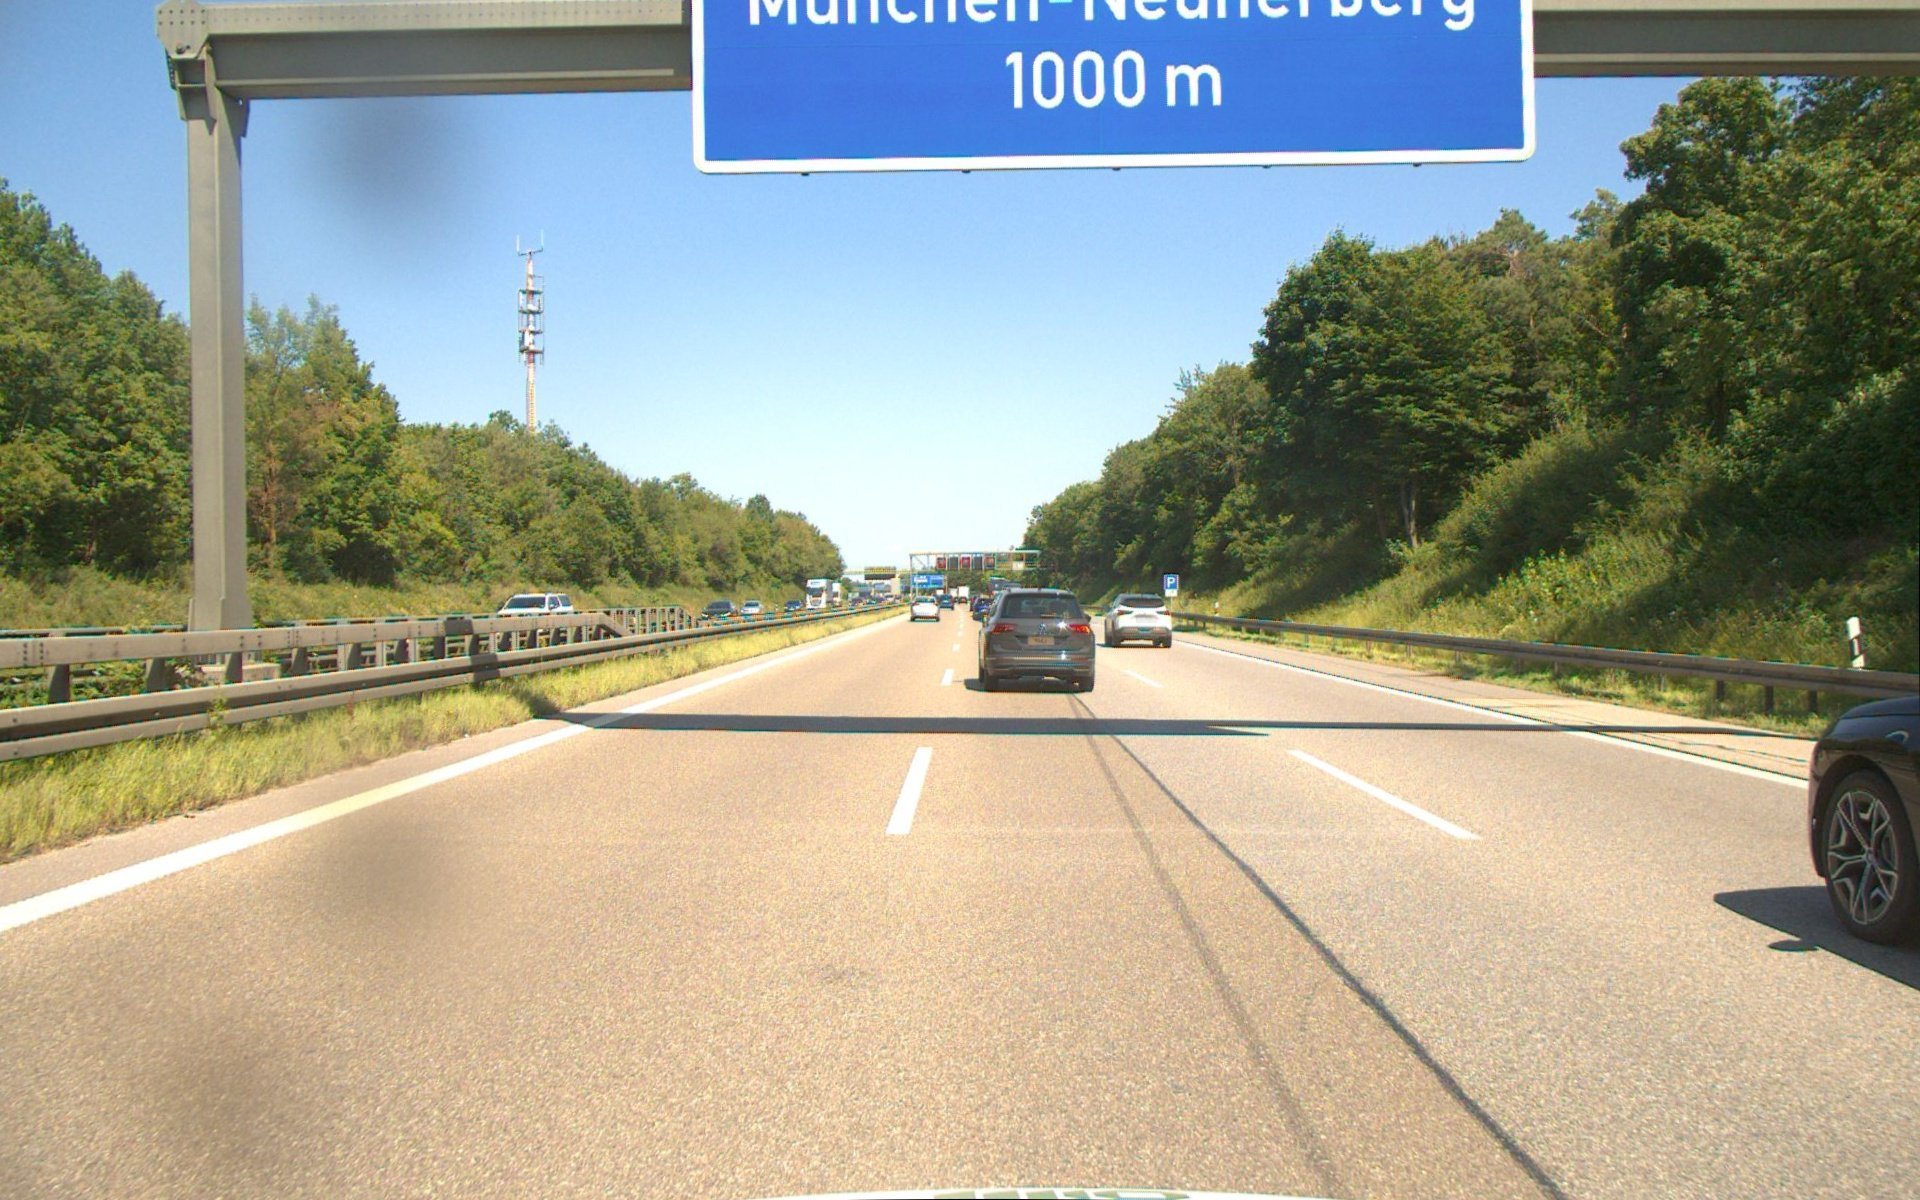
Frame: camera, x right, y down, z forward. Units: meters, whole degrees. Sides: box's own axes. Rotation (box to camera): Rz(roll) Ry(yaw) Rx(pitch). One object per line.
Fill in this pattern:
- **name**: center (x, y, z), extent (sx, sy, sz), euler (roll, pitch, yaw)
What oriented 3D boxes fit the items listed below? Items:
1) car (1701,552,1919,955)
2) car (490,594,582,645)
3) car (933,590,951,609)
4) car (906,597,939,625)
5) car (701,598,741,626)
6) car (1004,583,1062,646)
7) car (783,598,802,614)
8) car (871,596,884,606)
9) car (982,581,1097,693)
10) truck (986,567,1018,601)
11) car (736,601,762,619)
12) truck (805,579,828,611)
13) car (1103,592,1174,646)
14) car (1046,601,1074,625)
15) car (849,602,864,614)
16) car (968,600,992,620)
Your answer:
- **car**: center (4.983, 0.659, 6.750), extent (1.880, 1.698, 4.687), euler (1, 0, 1)
- **car**: center (-15.100, 0.653, 59.244), extent (1.741, 1.662, 5.540), euler (-3, 0, 1)
- **car**: center (-1.931, -0.052, 175.649), extent (1.953, 2.049, 3.999), euler (0, 0, -1)
- **car**: center (-2.178, 0.655, 97.876), extent (1.728, 1.595, 4.259), euler (1, 0, 1)
- **car**: center (-14.826, 0.743, 102.668), extent (1.720, 1.595, 4.430), euler (-3, 0, 0)
- **car**: center (2.319, 0.443, 53.711), extent (1.631, 1.909, 4.827), euler (-1, 0, 0)
- **car**: center (-17.692, 0.603, 175.107), extent (1.563, 1.595, 4.368), euler (-3, 0, -1)
- **car**: center (-12.372, 0.104, 248.067), extent (1.770, 1.430, 4.818), euler (-1, 0, 0)
- **car**: center (1.272, 0.563, 27.758), extent (1.762, 1.698, 4.259), euler (1, 0, 1)
- **truck**: center (5.675, -2.157, 227.792), extent (3.704, 4.499, 14.046), euler (0, 0, -2)
- **car**: center (-18.756, 0.864, 147.029), extent (1.595, 1.518, 4.941), euler (-3, 0, 0)
- **truck**: center (-19.205, -0.695, 221.299), extent (2.561, 4.129, 3.999), euler (-3, 0, -1)
- **car**: center (5.514, 0.561, 51.471), extent (1.805, 1.595, 4.036), euler (1, 0, 1)
- **car**: center (6.777, 0.862, 112.504), extent (1.728, 1.595, 4.259), euler (1, 0, 1)
- **car**: center (-11.895, 0.909, 190.884), extent (1.455, 1.380, 4.417), euler (-1, 0, 0)
- **car**: center (1.494, 0.713, 123.374), extent (1.728, 1.406, 4.259), euler (1, 0, 1)
